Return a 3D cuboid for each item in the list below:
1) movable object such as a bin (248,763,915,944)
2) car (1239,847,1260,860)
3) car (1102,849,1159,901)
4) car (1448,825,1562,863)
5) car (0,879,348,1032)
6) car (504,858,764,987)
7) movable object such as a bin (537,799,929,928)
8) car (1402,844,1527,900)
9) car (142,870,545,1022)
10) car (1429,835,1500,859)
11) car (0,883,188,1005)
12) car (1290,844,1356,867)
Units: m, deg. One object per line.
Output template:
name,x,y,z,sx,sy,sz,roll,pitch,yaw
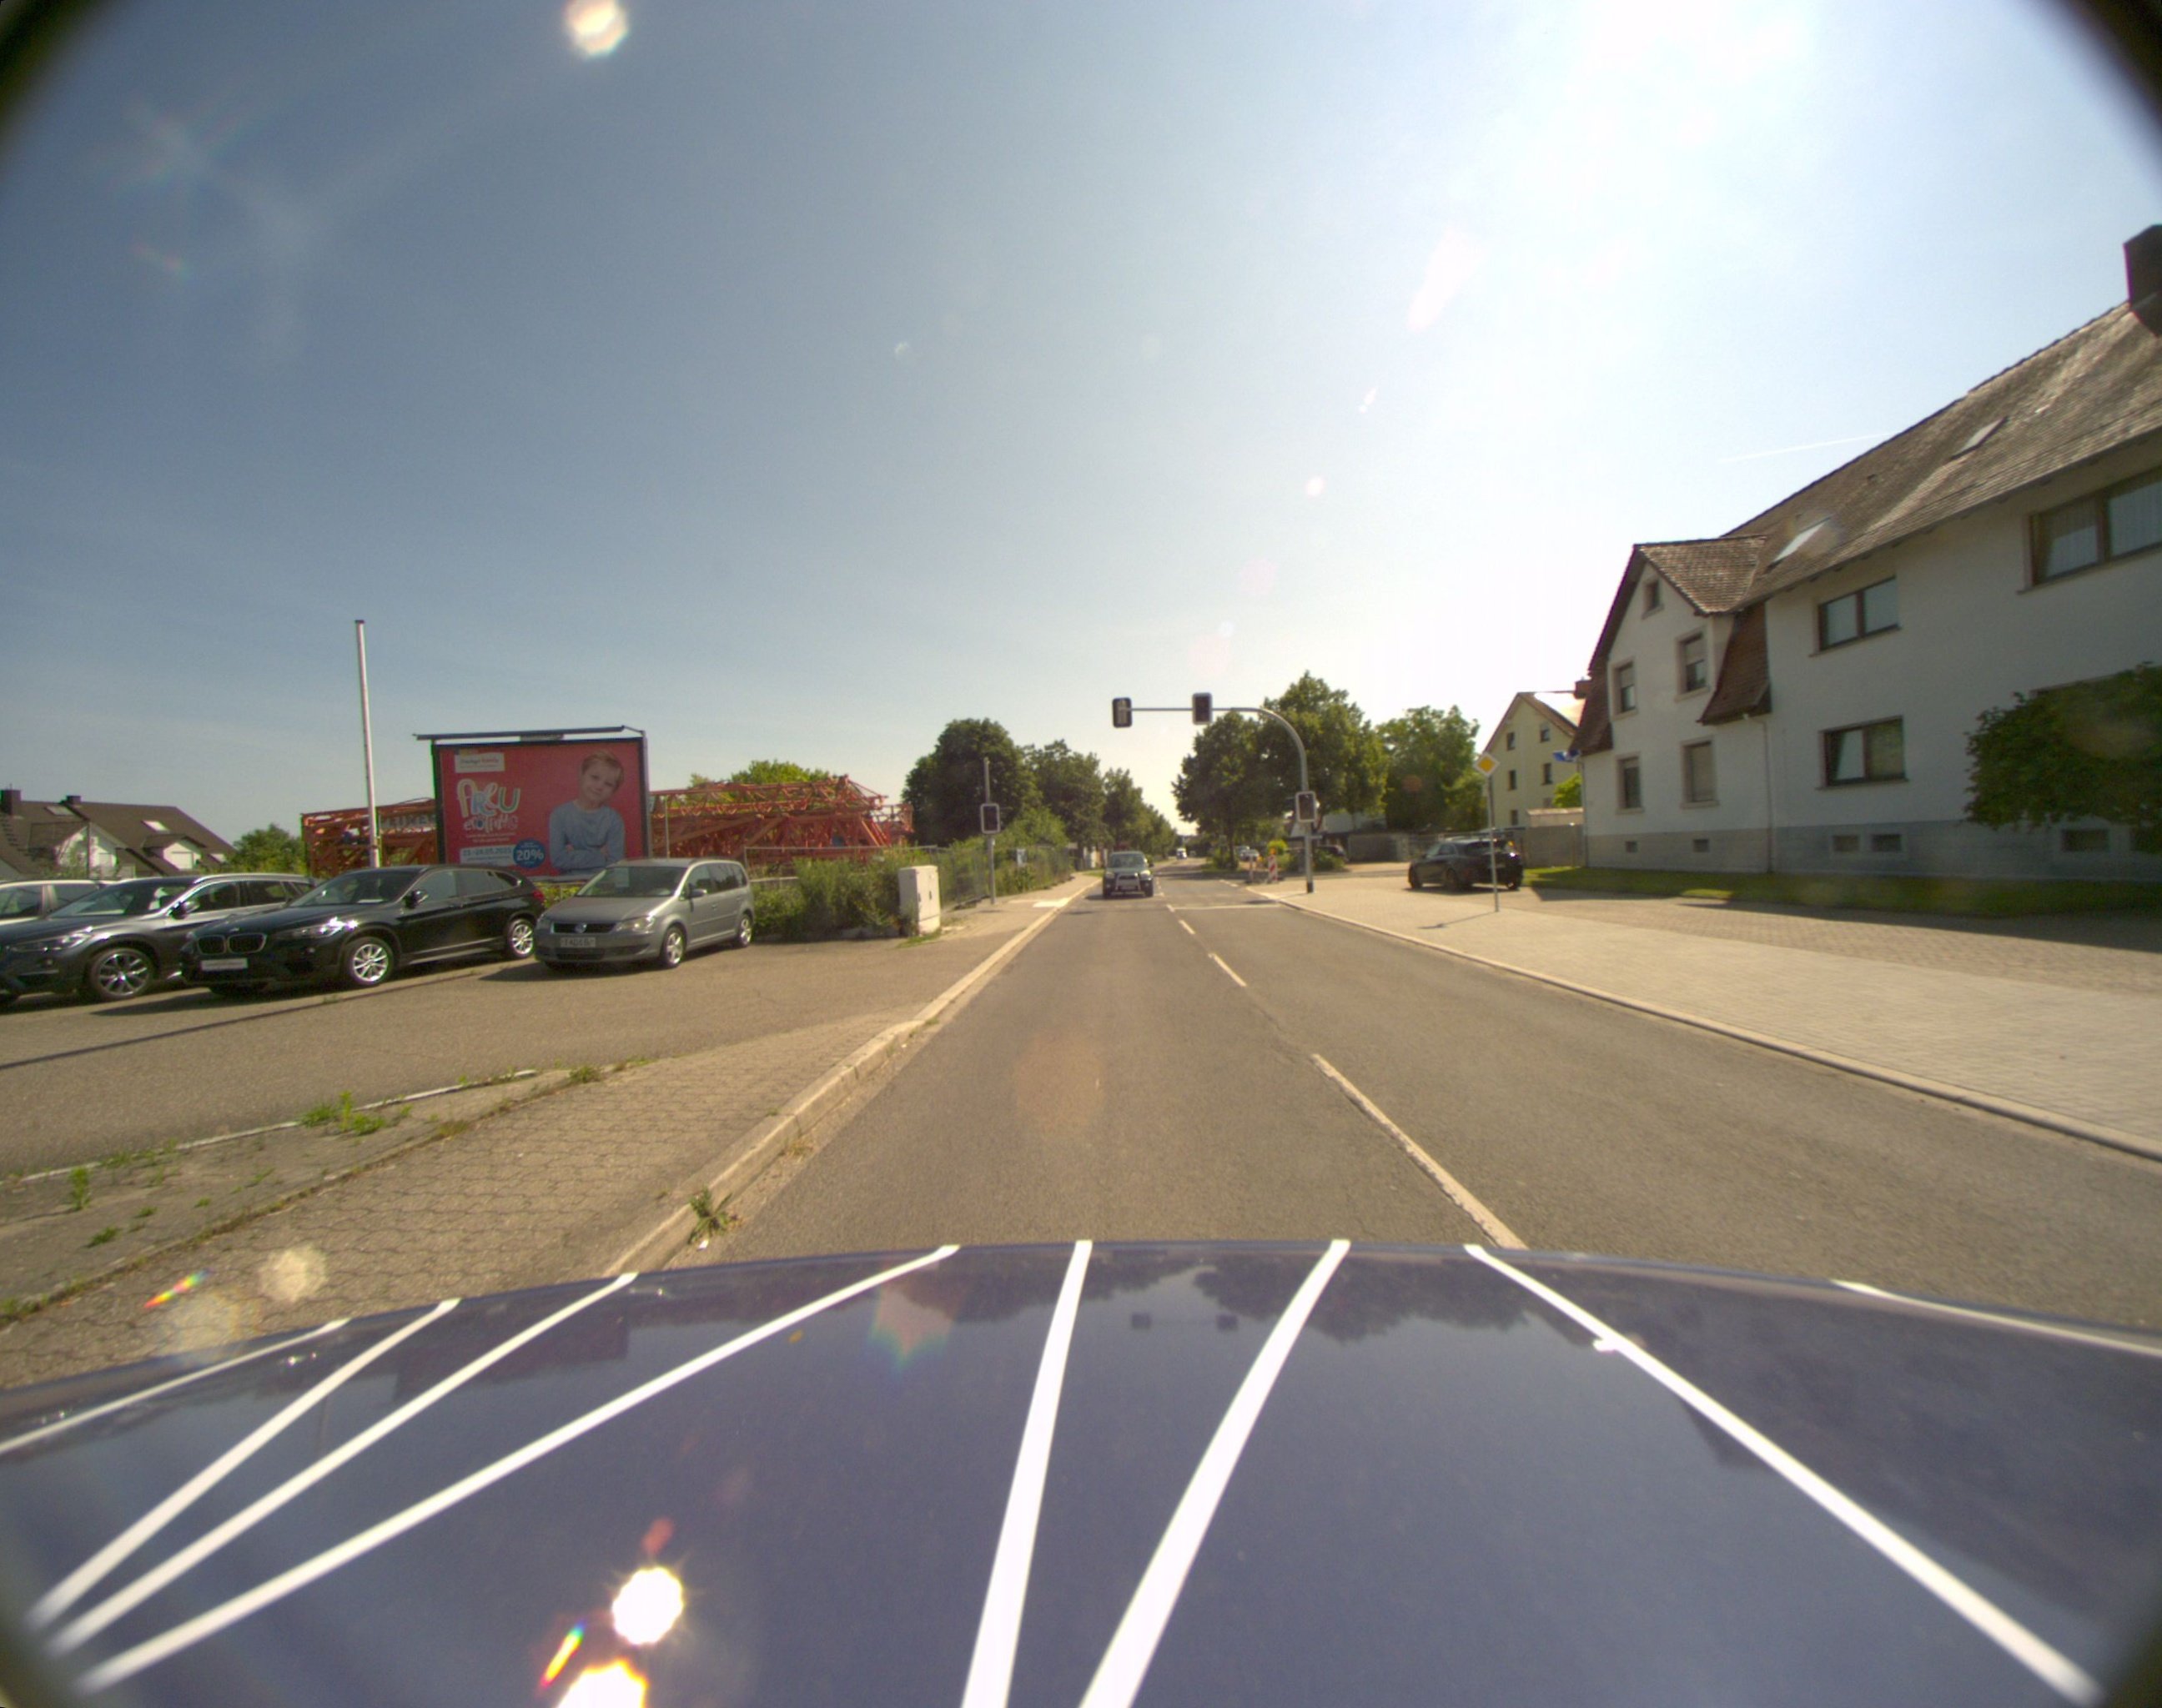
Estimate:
movable object such as a bin,-12.930,-0.010,20.596,16.092,3.995,2.773,-2,1,0
car,20.926,-0.049,94.523,1.997,1.496,4.002,-2,0,6
car,1.796,0.749,28.027,1.848,1.686,4.399,-3,-1,3
car,25.330,-0.605,45.557,5.623,2.033,2.000,-2,0,1
car,-13.090,1.253,10.638,1.846,1.583,4.103,-2,1,-5
car,-6.871,0.954,12.334,1.809,1.676,4.368,-1,-1,-3
movable object such as a bin,-12.768,0.354,28.686,13.287,4.141,2.863,-2,1,0
car,11.035,0.443,22.230,1.718,1.399,4.398,-1,1,4
car,-9.966,1.104,10.838,1.975,1.583,3.998,-2,1,-5
car,26.993,-0.465,53.604,3.996,1.496,2.000,-2,0,3
car,-15.899,1.327,10.545,2.004,1.583,4.336,-2,1,-5
car,17.239,0.126,54.191,3.989,1.496,2.004,-2,0,36
